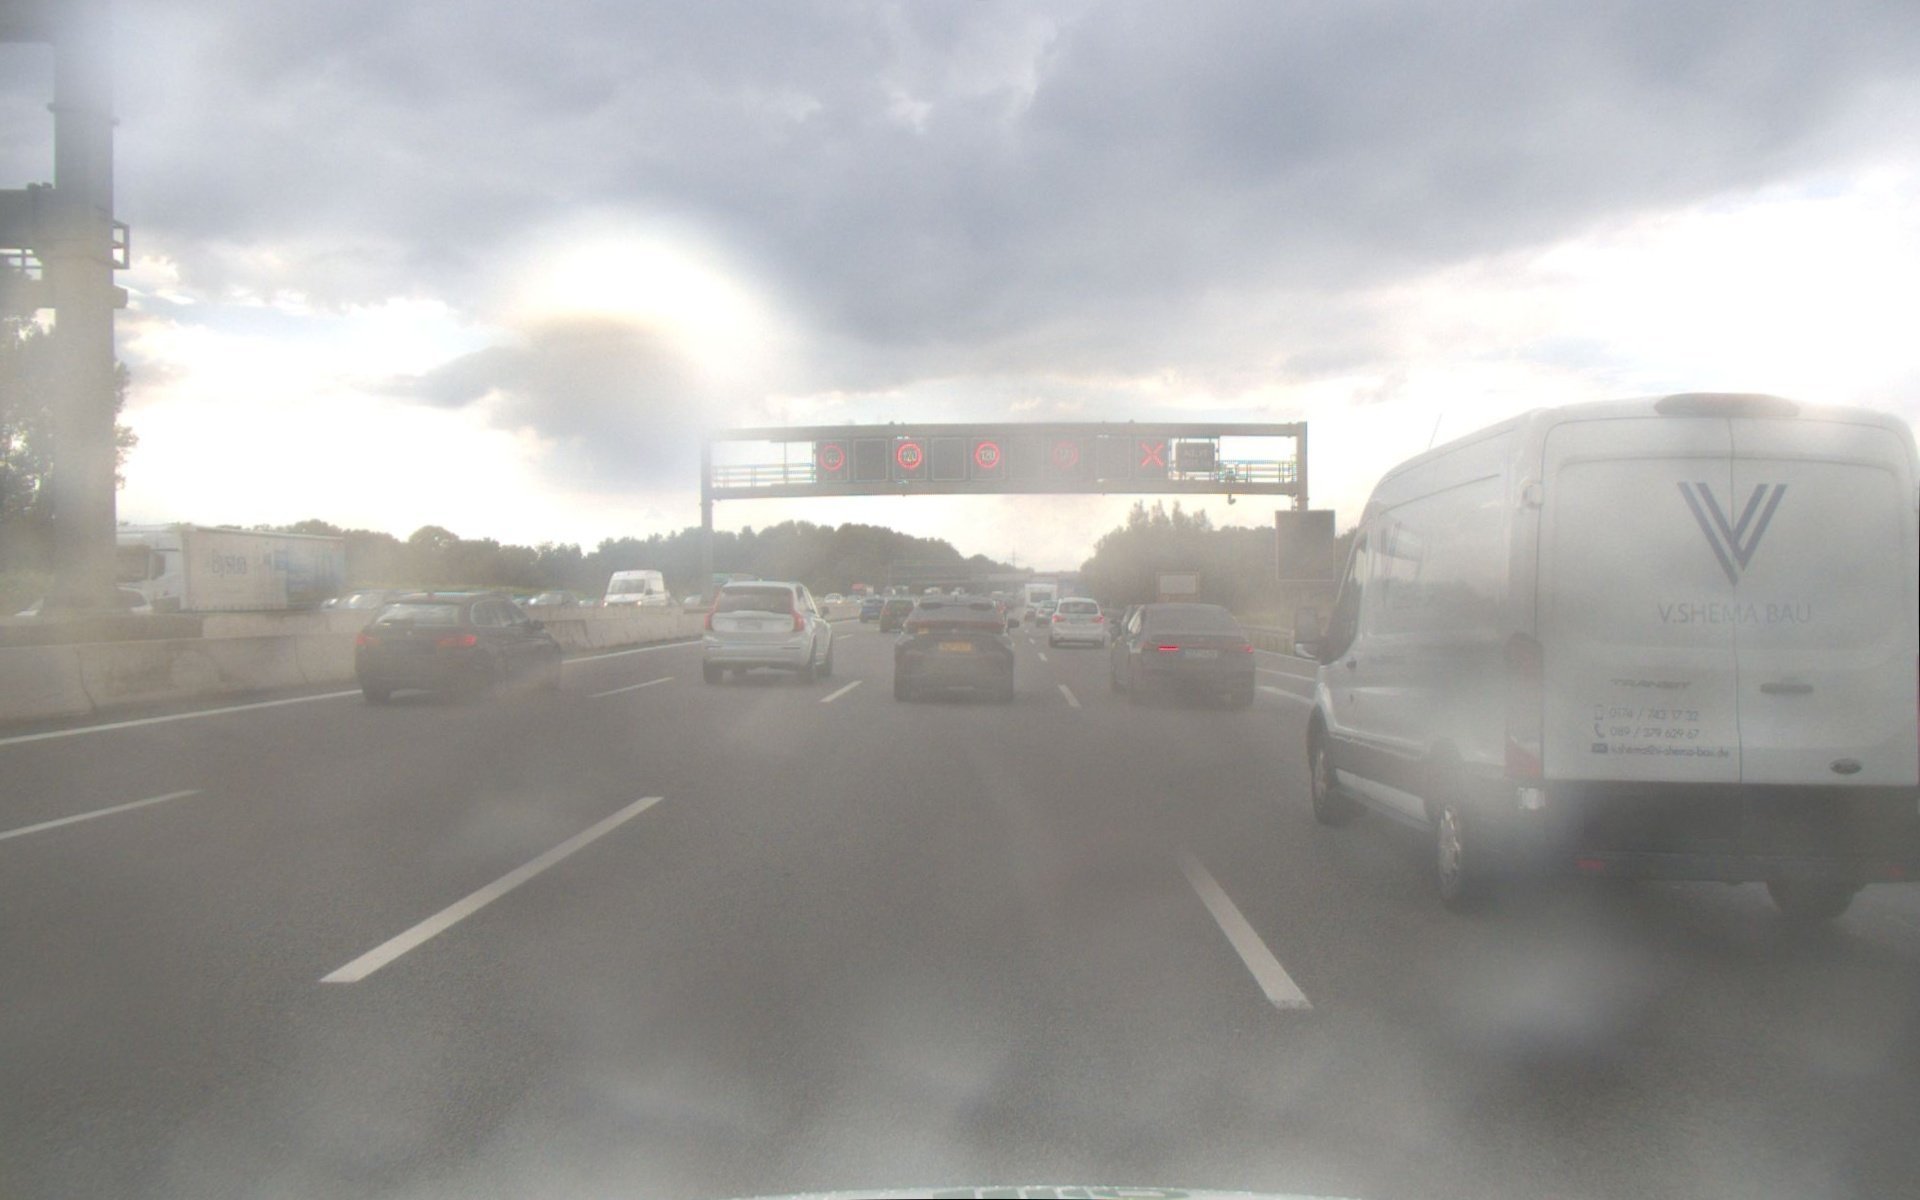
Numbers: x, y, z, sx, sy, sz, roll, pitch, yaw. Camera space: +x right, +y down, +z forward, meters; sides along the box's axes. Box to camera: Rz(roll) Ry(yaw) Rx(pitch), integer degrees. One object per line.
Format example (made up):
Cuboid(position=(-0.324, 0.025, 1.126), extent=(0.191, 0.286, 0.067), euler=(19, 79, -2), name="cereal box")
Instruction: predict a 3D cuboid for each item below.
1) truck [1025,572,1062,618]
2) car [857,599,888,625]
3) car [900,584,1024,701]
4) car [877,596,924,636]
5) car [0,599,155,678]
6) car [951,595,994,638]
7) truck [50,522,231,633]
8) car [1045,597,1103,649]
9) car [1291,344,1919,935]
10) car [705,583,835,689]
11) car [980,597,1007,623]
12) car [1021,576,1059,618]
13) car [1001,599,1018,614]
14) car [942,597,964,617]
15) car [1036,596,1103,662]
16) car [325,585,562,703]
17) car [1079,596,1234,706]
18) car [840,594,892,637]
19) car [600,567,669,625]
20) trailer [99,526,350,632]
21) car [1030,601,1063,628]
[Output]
Cuboid(position=(7.267, -0.395, 144.068), extent=(3.068, 3.774, 9.850), euler=(1, 0, 3), name="truck")
Cuboid(position=(-5.143, 0.699, 97.617), extent=(1.531, 1.503, 3.920), euler=(1, 0, 1), name="car")
Cuboid(position=(-0.039, 0.617, 25.786), extent=(1.745, 1.641, 4.596), euler=(1, 0, -2), name="car")
Cuboid(position=(-2.588, 0.686, 72.983), extent=(1.842, 1.715, 4.000), euler=(1, 0, 1), name="car")
Cuboid(position=(-21.089, 0.864, 39.258), extent=(1.952, 1.758, 4.018), euler=(1, 0, 1), name="car")
Cuboid(position=(0.530, 0.689, 68.985), extent=(1.733, 1.715, 4.000), euler=(1, 0, 1), name="car")
Cuboid(position=(-27.943, -0.722, 56.753), extent=(3.071, 3.569, 6.100), euler=(1, 0, 1), name="truck")
Cuboid(position=(3.775, 0.741, 55.407), extent=(1.773, 1.627, 4.696), euler=(1, 0, 2), name="car")
Cuboid(position=(3.521, 0.180, 9.906), extent=(2.095, 2.544, 5.449), euler=(1, 0, 1), name="car")
Cuboid(position=(-3.341, 0.602, 29.825), extent=(1.744, 1.746, 4.353), euler=(1, 0, 1), name="car")
Cuboid(position=(2.304, 0.673, 113.781), extent=(1.842, 1.715, 4.000), euler=(1, 0, 1), name="car")
Cuboid(position=(5.722, -0.197, 119.130), extent=(2.514, 2.946, 7.534), euler=(1, 0, 1), name="car")
Cuboid(position=(5.727, 0.720, 191.969), extent=(1.843, 1.715, 3.999), euler=(1, 0, 0), name="car")
Cuboid(position=(-0.631, 0.635, 148.566), extent=(1.842, 1.715, 4.000), euler=(1, 0, 1), name="car")
Cuboid(position=(2.959, 0.742, 44.243), extent=(1.671, 1.659, 4.459), euler=(1, 0, 5), name="car")
Cuboid(position=(-7.208, 0.580, 23.587), extent=(1.743, 1.507, 4.355), euler=(1, 0, 4), name="car")
Cuboid(position=(2.942, 0.730, 25.733), extent=(1.899, 1.517, 4.776), euler=(1, 0, 1), name="car")
Cuboid(position=(-3.887, 0.628, 68.883), extent=(1.842, 1.715, 4.000), euler=(0, 0, 1), name="car")
Cuboid(position=(-15.679, -0.179, 80.038), extent=(1.952, 2.662, 6.343), euler=(1, 0, 1), name="car")
Cuboid(position=(-27.865, -0.696, 63.909), extent=(3.045, 3.569, 14.453), euler=(1, 0, 1), name="trailer")
Cuboid(position=(4.880, 0.815, 93.271), extent=(1.758, 1.503, 4.039), euler=(1, 0, 3), name="car")
